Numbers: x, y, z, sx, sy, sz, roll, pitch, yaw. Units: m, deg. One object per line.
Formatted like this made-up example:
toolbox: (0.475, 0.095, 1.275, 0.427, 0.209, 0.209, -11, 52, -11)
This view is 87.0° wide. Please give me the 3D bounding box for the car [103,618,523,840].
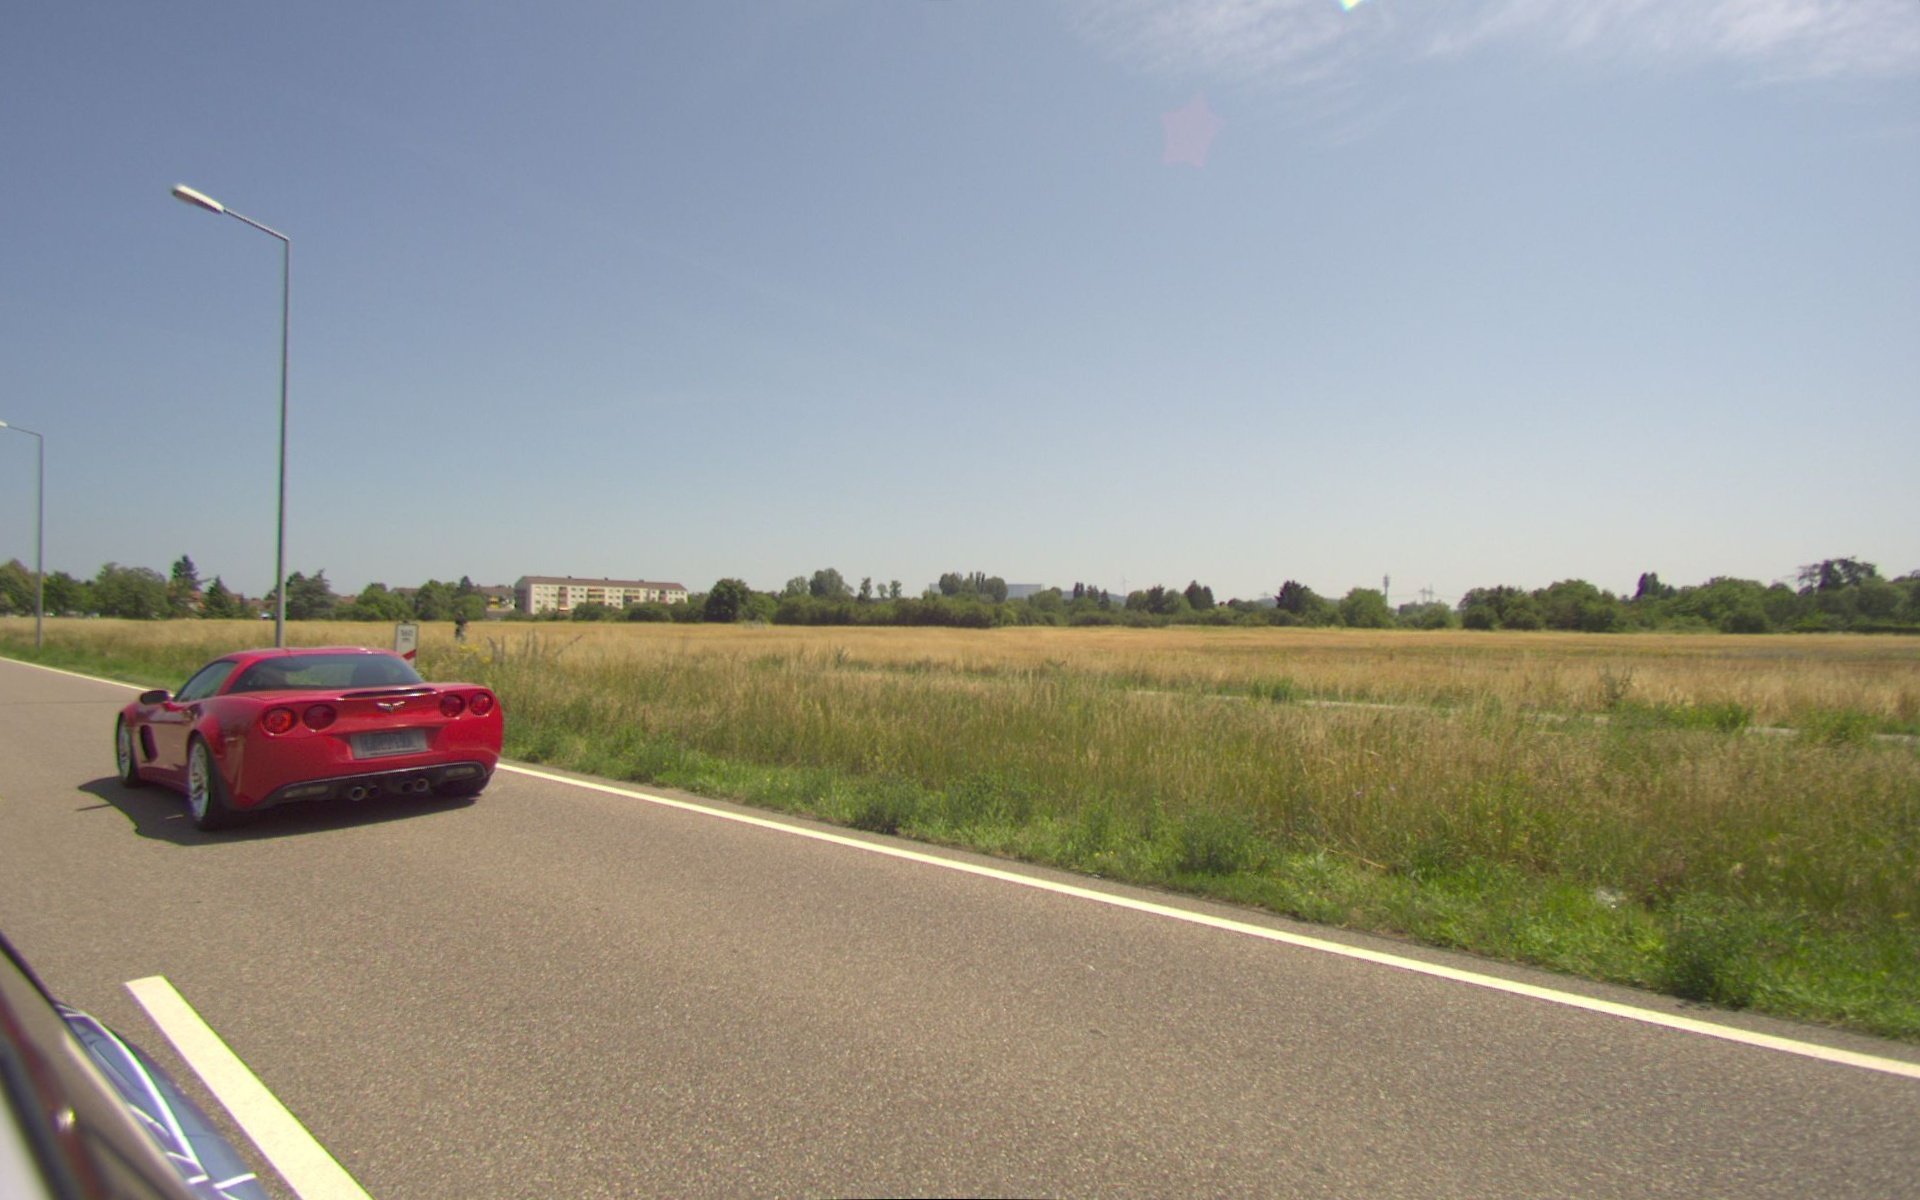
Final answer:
car: (-5.471, 0.840, 8.319, 4.284, 1.295, 1.788, 0, -1, 41)
